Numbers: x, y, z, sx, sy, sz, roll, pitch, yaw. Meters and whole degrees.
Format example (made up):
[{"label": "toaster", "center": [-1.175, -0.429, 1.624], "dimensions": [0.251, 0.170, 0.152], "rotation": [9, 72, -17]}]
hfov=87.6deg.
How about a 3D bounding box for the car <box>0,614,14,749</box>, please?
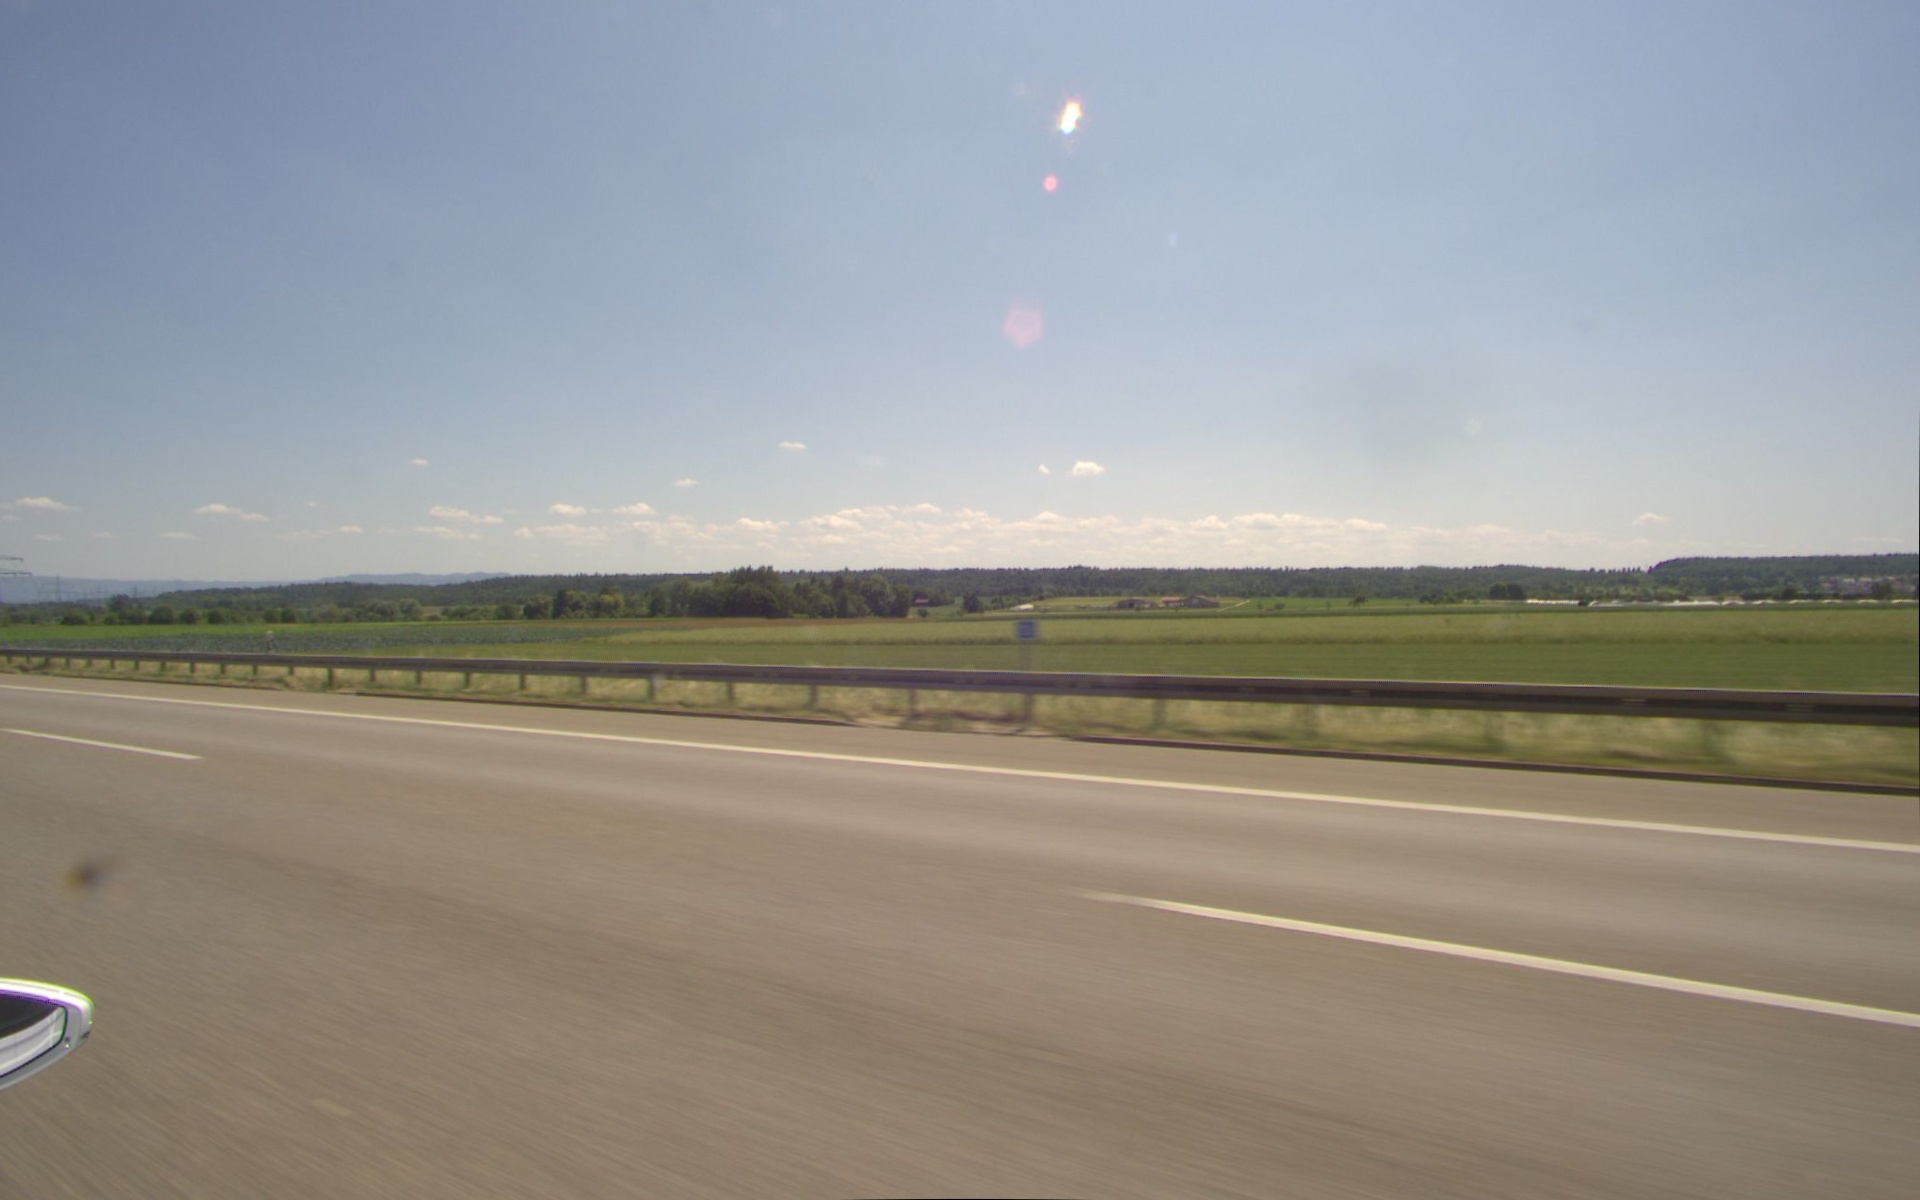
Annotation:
[{"label": "car", "center": [-14.247, 1.009, 12.994], "dimensions": [4.579, 1.670, 1.848], "rotation": [-1, -1, 33]}]
